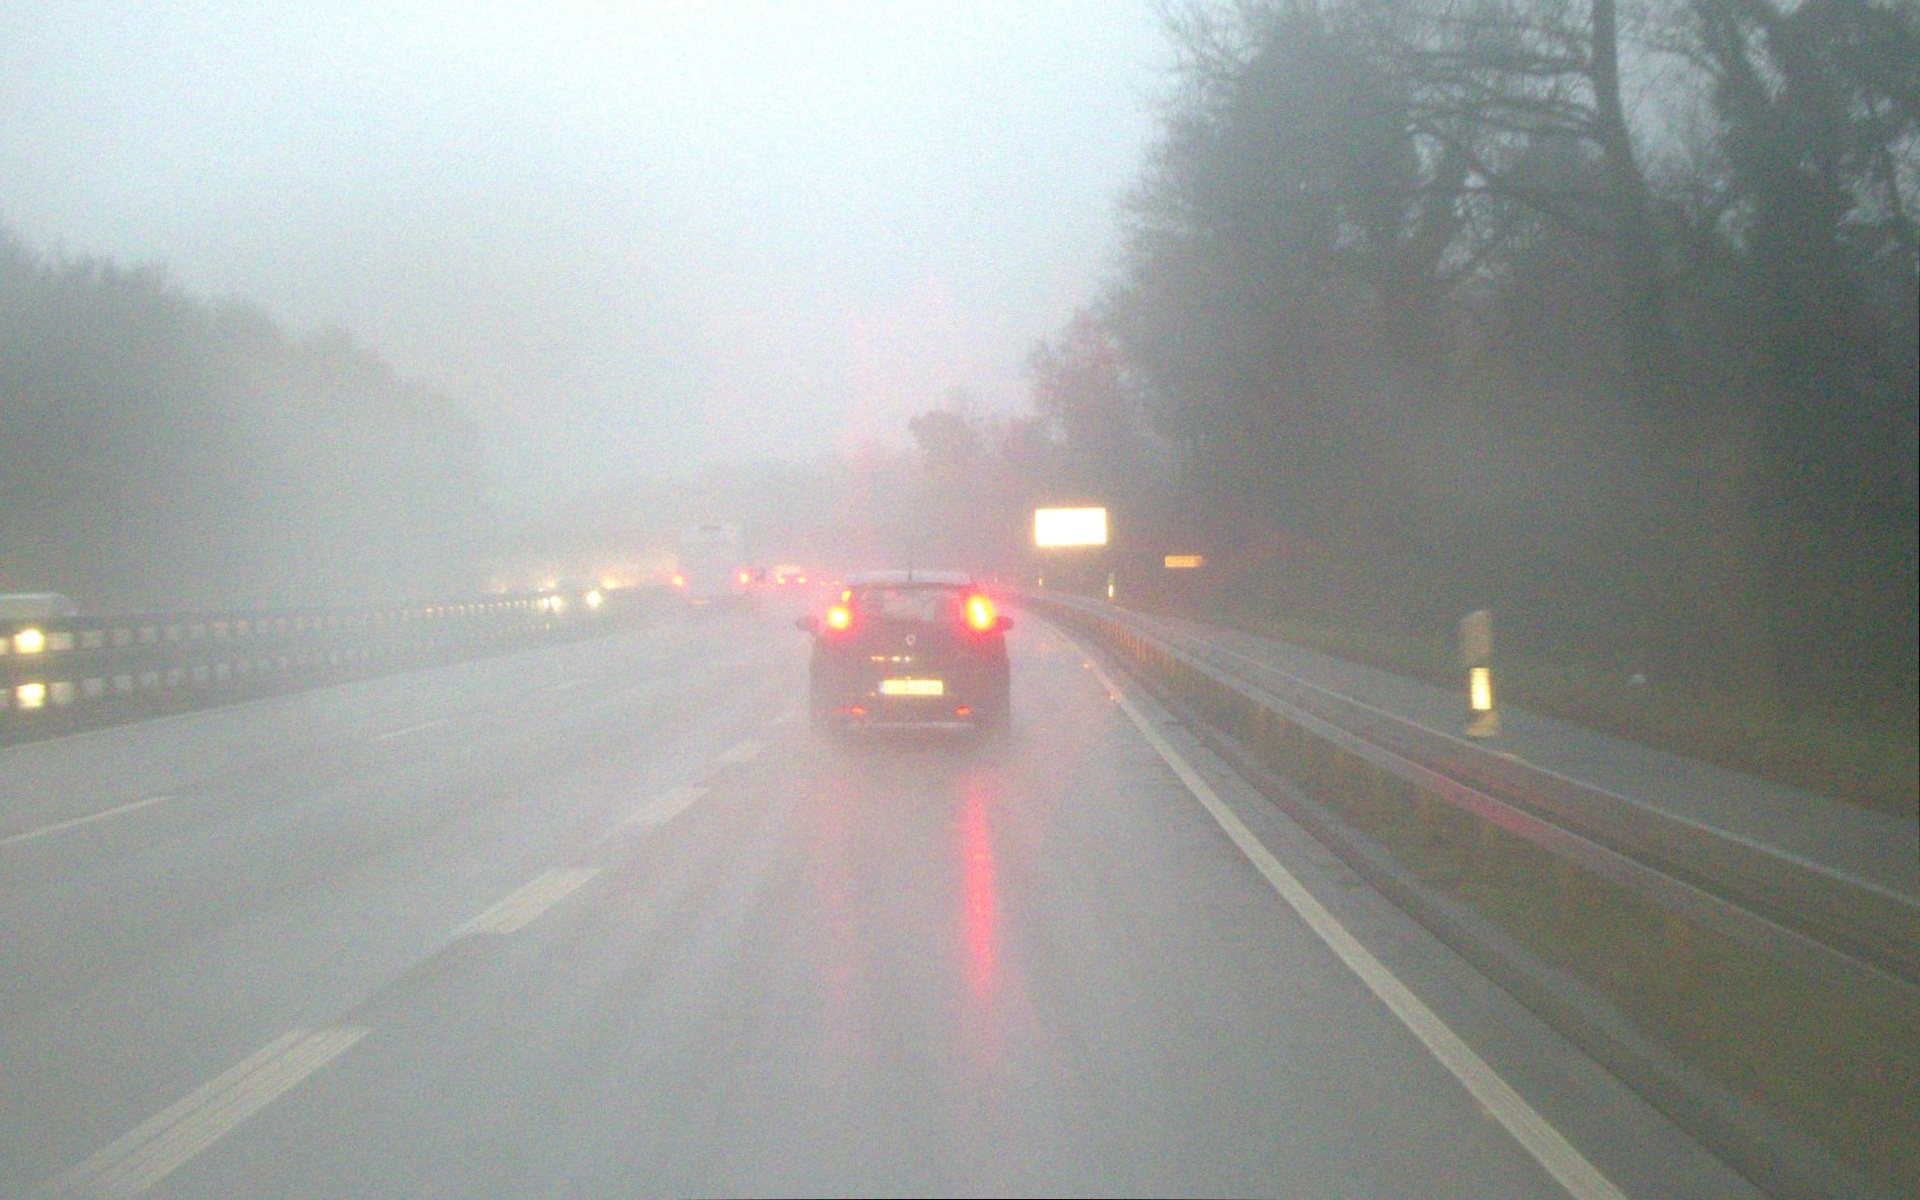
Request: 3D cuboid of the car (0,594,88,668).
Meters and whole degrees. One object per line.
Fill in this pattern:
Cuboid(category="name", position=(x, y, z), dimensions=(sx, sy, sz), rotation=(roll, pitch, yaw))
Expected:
Cuboid(category="car", position=(-19.924, 0.636, 73.099), dimensions=(1.545, 1.507, 4.540), rotation=(0, 0, 1))

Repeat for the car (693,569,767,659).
Cuboid(category="car", position=(-6.478, 0.364, 96.534), dimensions=(2.000, 2.445, 4.001), rotation=(1, 0, -4))

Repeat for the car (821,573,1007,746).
Cuboid(category="car", position=(-0.448, 0.480, 30.316), dimensions=(1.527, 1.411, 3.479), rotation=(1, 0, -2))
